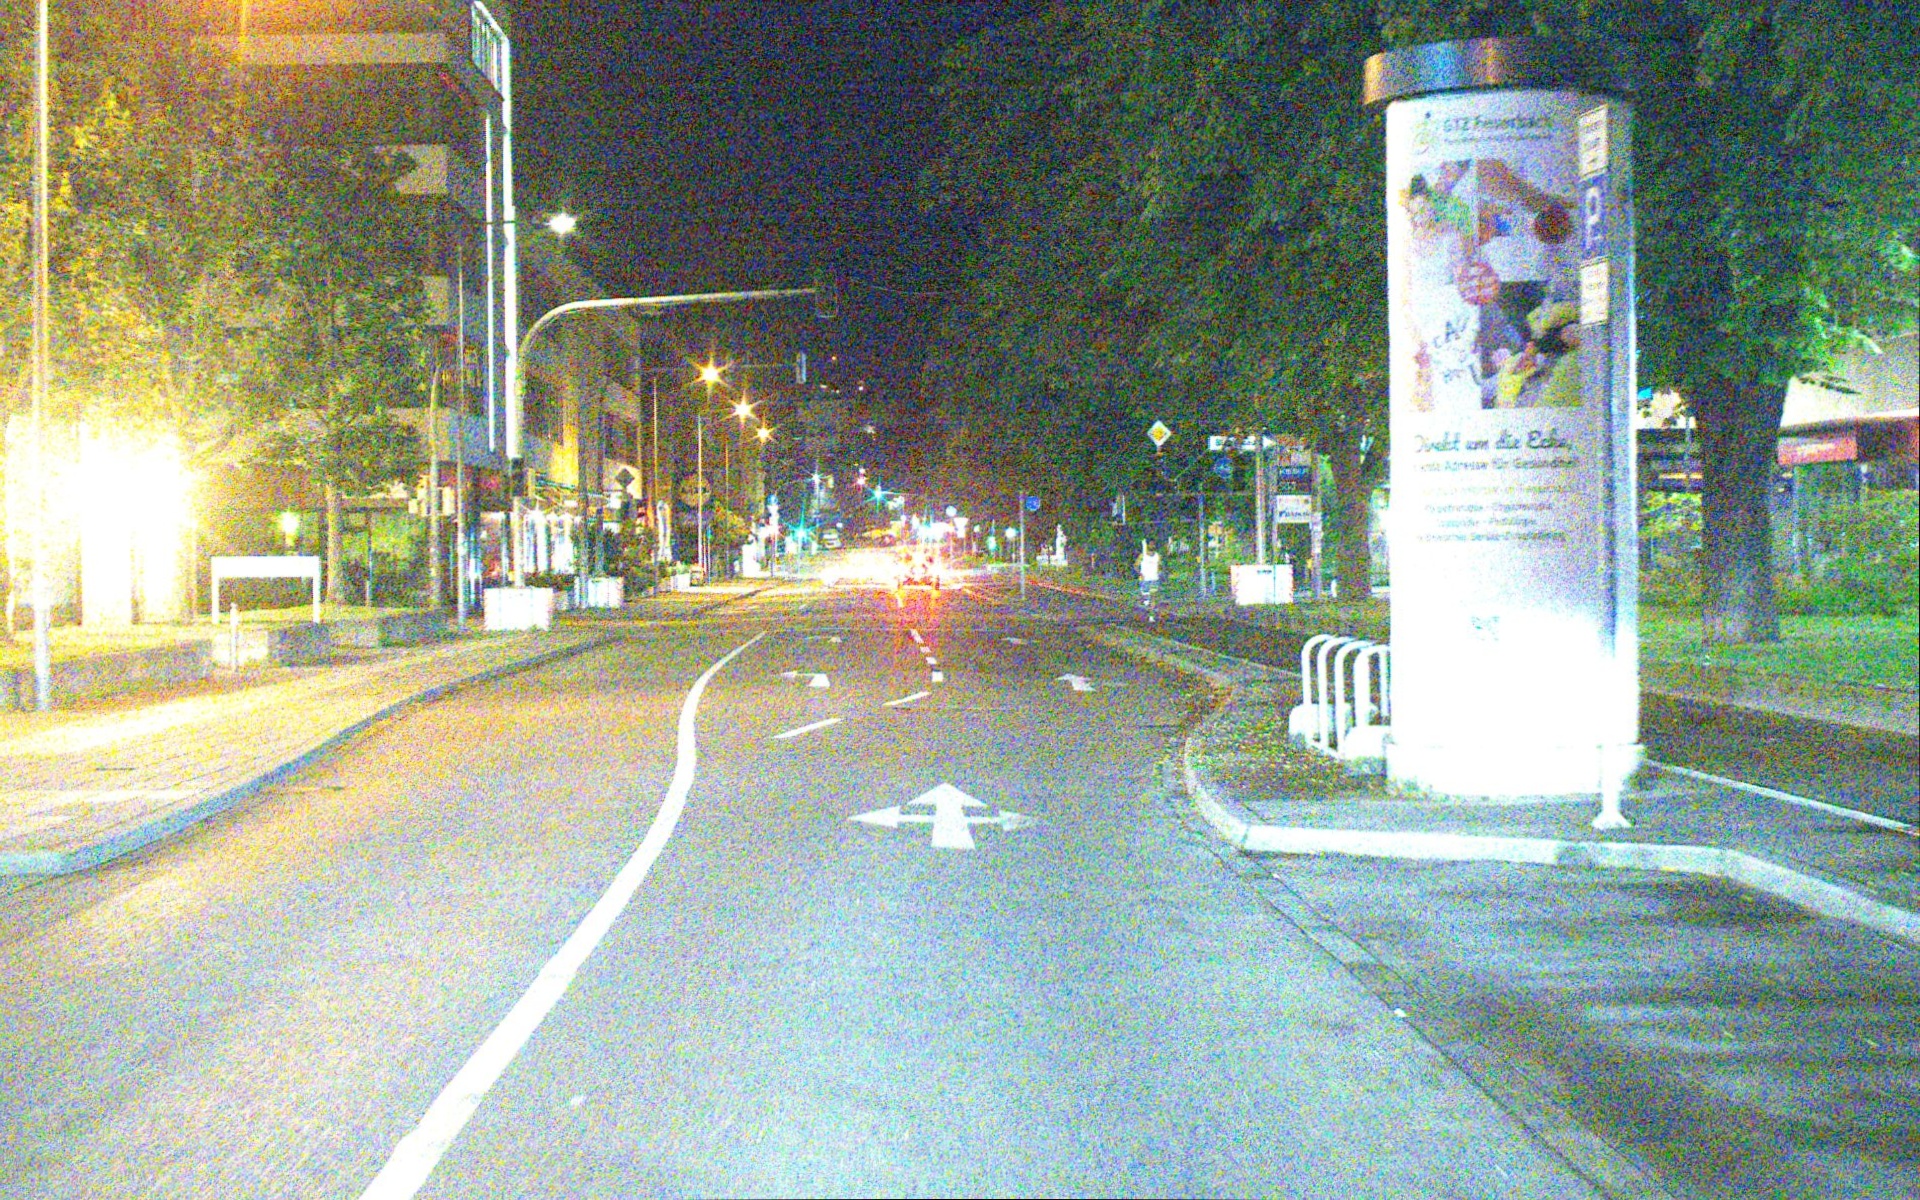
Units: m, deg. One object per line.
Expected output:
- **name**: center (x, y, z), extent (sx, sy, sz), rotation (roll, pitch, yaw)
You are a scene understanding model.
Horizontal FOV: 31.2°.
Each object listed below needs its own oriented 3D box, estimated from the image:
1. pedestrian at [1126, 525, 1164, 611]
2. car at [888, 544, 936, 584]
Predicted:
- **pedestrian**: center (3.947, -0.683, 73.445), extent (0.703, 1.812, 1.082), rotation (-1, 1, -1)
- **car**: center (-2.122, -1.590, 150.425), extent (1.993, 1.637, 4.000), rotation (-2, 1, -2)
